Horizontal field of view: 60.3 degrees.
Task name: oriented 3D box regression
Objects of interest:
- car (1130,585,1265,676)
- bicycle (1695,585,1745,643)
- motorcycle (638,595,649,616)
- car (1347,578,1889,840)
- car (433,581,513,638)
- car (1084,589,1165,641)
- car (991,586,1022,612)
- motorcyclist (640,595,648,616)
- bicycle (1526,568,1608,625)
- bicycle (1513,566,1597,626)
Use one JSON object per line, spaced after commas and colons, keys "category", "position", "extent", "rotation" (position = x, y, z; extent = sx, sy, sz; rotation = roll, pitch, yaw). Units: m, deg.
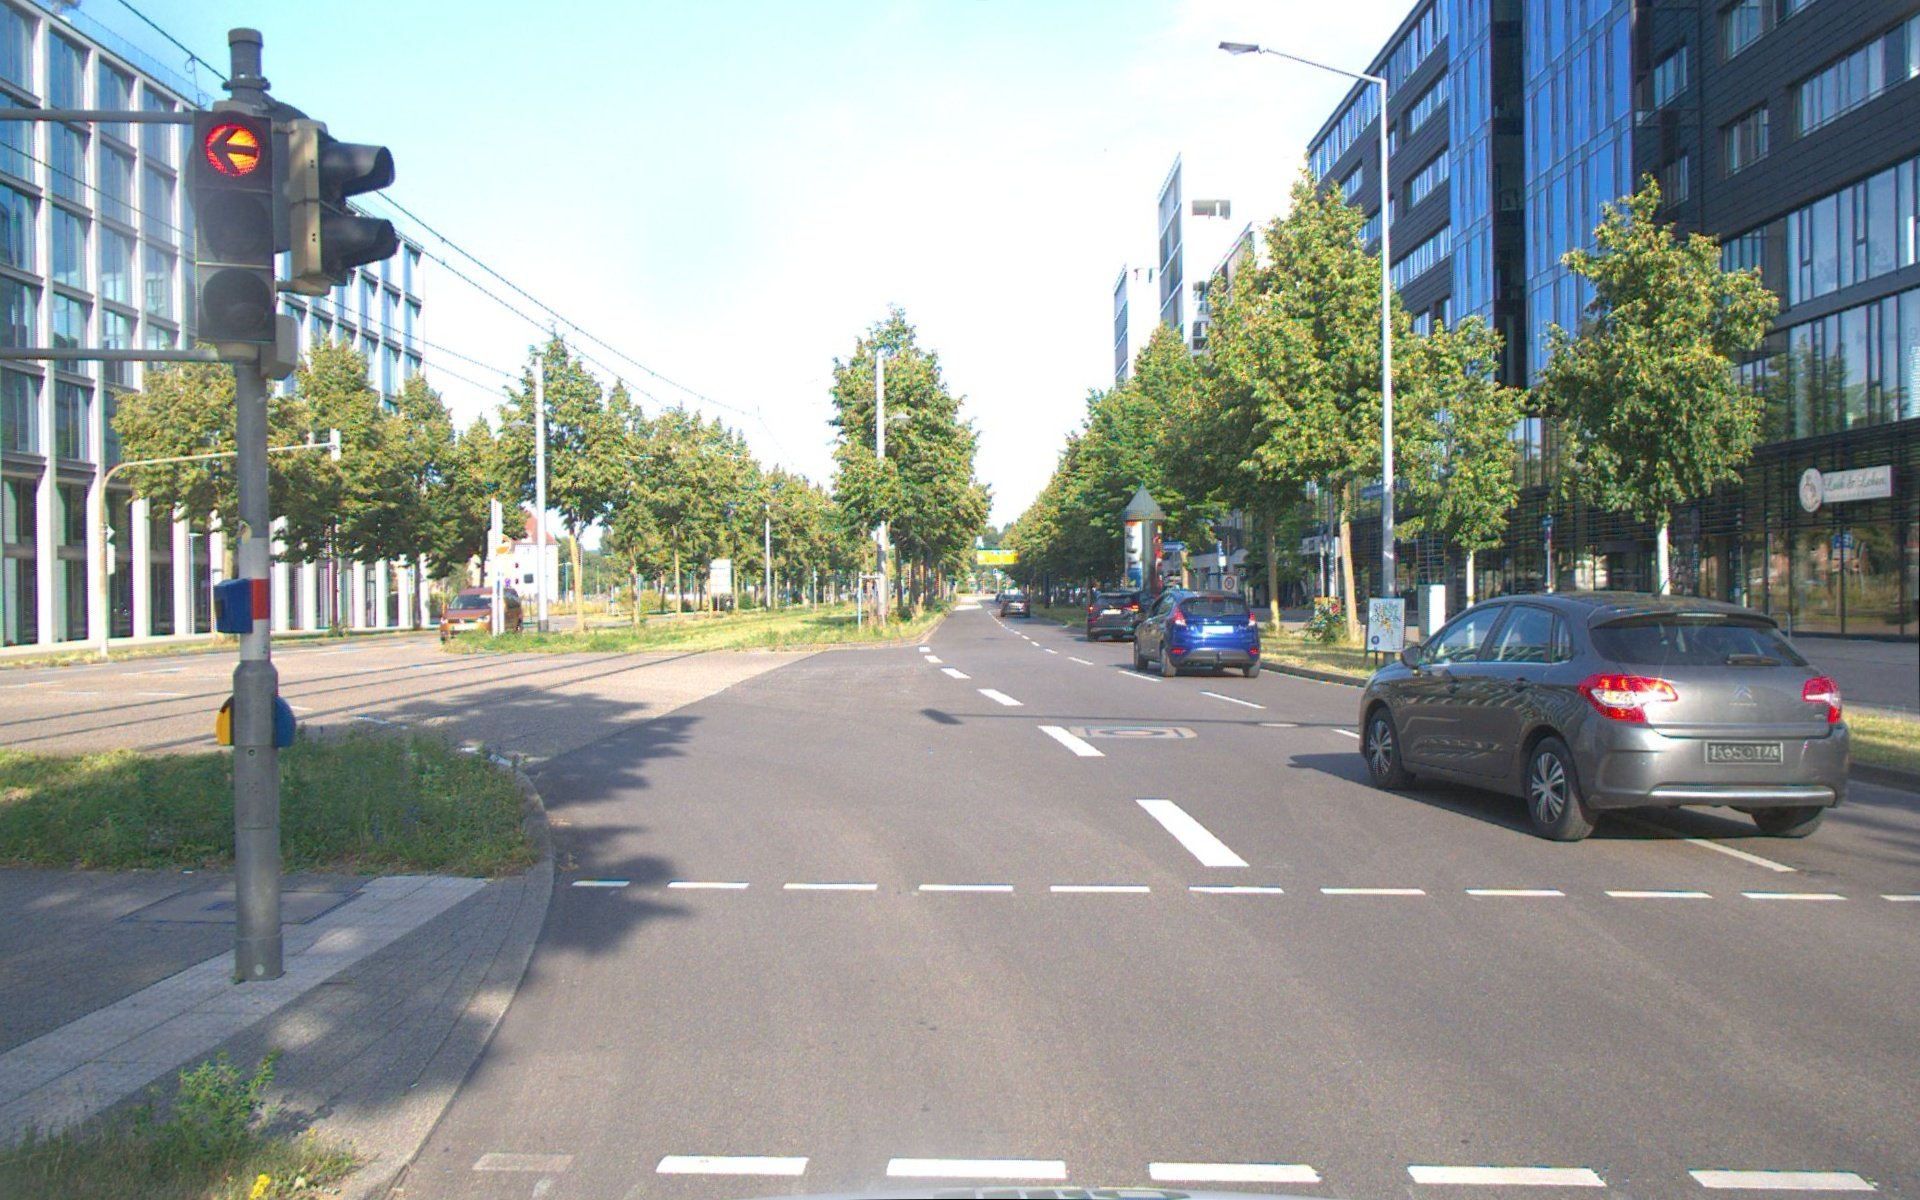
{"category": "car", "position": [4.100, 0.482, 29.072], "extent": [1.529, 1.449, 3.904], "rotation": [1, 1, -4]}
{"category": "bicycle", "position": [18.484, 0.330, 40.250], "extent": [0.365, 1.370, 1.894], "rotation": [1, 0, 1]}
{"category": "motorcycle", "position": [-24.418, 0.408, 127.749], "extent": [0.464, 1.557, 1.992], "rotation": [1, 0, -1]}
{"category": "car", "position": [4.180, 0.611, 11.275], "extent": [1.662, 1.449, 4.032], "rotation": [1, 0, -8]}
{"category": "car", "position": [-15.999, 0.297, 54.467], "extent": [1.650, 1.806, 3.880], "rotation": [1, 0, -3]}
{"category": "car", "position": [4.907, 0.442, 48.953], "extent": [1.736, 1.449, 3.963], "rotation": [1, 0, 15]}
{"category": "car", "position": [2.880, -0.043, 103.368], "extent": [1.821, 1.551, 3.785], "rotation": [1, 0, 0]}
{"category": "motorcyclist", "position": [-24.415, 0.398, 127.771], "extent": [0.476, 1.592, 0.455], "rotation": [1, 0, -1]}
{"category": "bicycle", "position": [19.453, -0.117, 53.073], "extent": [2.383, 1.776, 0.554], "rotation": [1, 0, 10]}
{"category": "bicycle", "position": [19.430, -0.136, 54.071], "extent": [2.510, 1.890, 0.570], "rotation": [1, 0, 10]}
